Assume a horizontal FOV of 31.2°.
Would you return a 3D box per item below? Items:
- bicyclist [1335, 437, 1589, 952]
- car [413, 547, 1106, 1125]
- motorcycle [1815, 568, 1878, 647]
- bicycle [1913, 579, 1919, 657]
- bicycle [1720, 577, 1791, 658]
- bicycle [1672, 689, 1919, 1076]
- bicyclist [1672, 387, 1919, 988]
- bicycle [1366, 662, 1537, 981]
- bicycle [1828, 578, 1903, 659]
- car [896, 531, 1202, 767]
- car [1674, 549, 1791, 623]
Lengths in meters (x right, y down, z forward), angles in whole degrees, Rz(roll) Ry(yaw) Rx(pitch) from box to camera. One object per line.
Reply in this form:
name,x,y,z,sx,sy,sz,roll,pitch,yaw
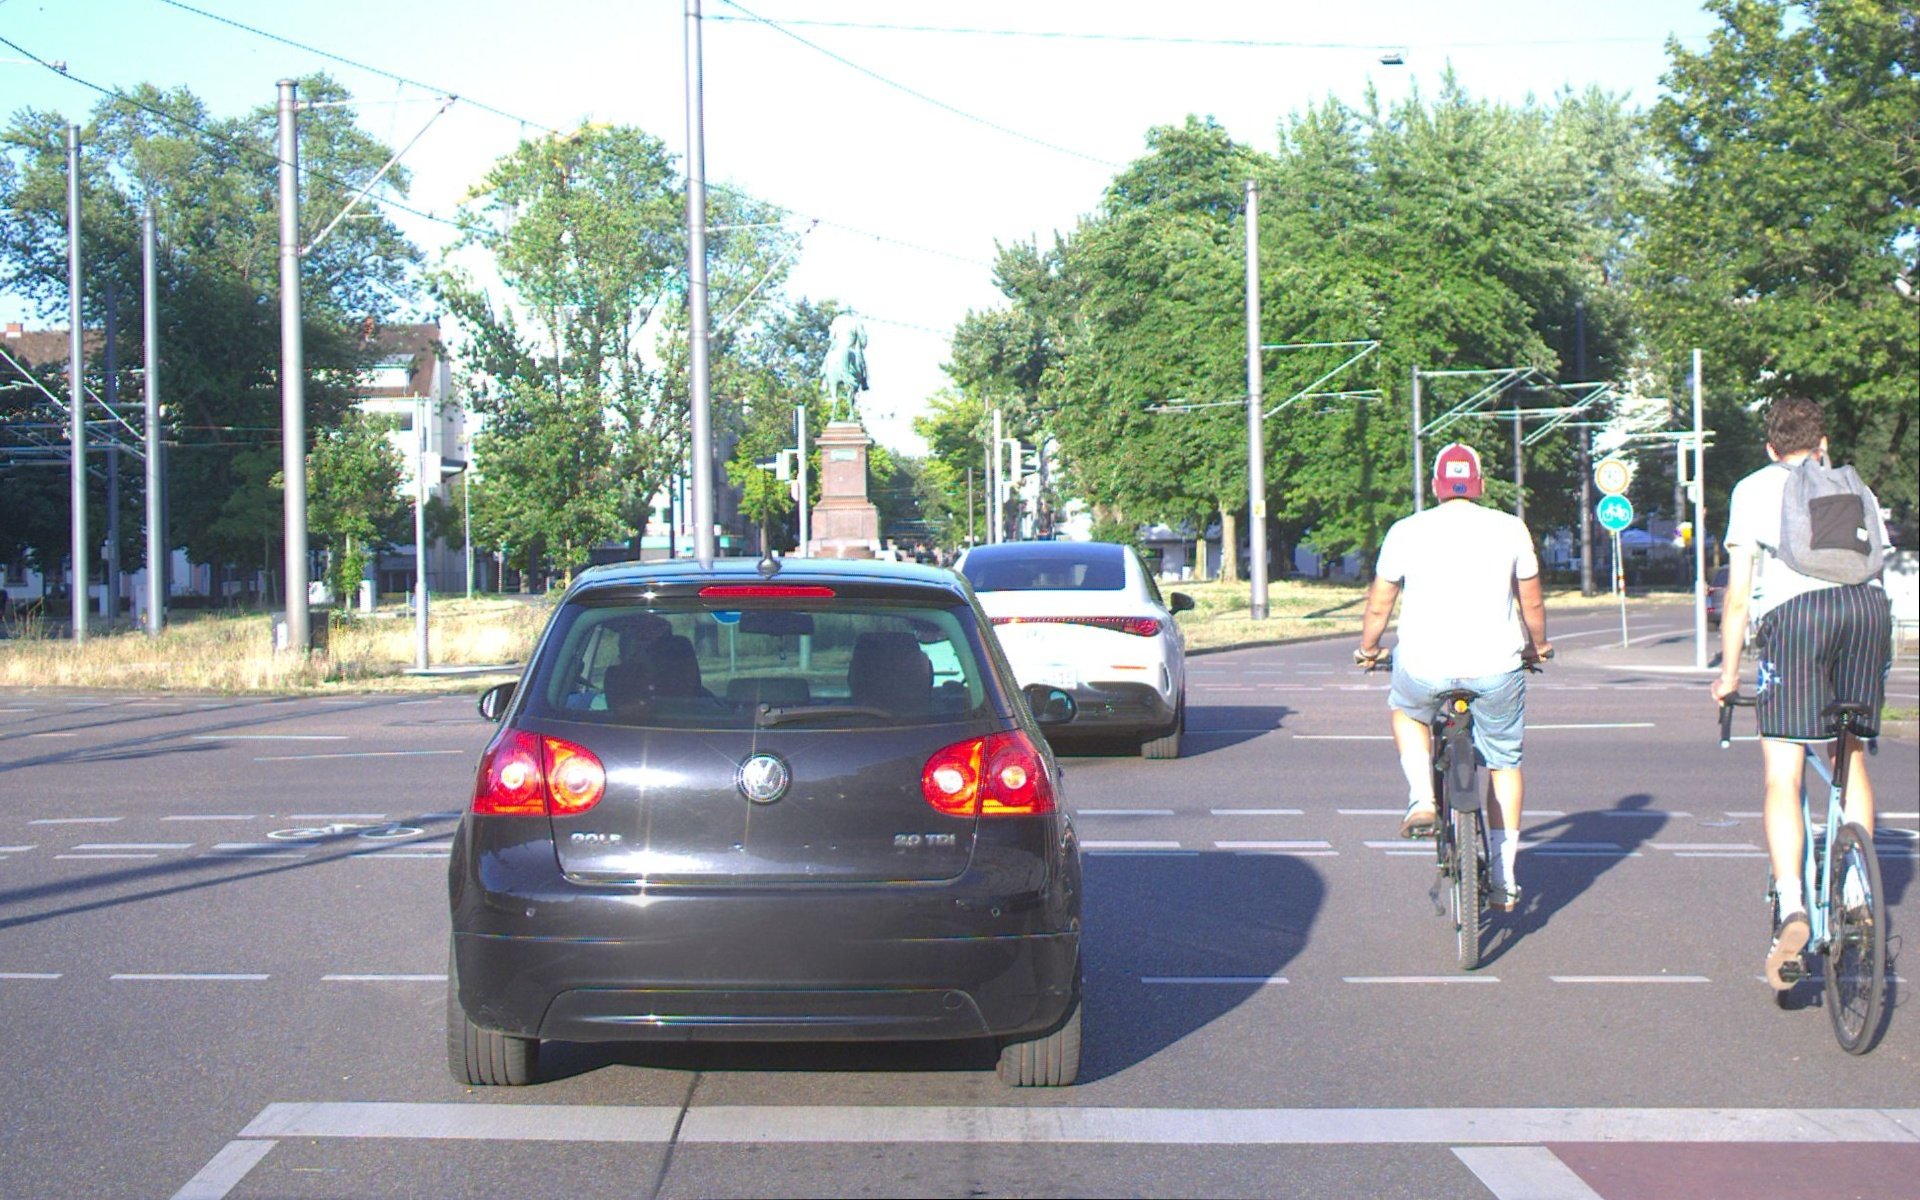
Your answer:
bicyclist,1.819,0.328,12.591,0.826,1.801,1.057,0,1,4
car,-0.571,0.569,10.759,1.747,1.456,4.104,0,1,-2
motorcycle,14.386,0.116,55.820,0.666,1.238,2.200,0,1,6
bicycle,14.676,0.292,50.759,0.645,1.154,2.124,-1,2,1
bicycle,11.728,0.241,50.740,0.645,1.123,1.874,-1,2,1
bicycle,2.631,0.828,10.683,0.575,1.024,1.856,0,1,4
bicyclist,2.654,0.258,10.806,0.674,1.801,0.994,0,1,4
bicycle,1.790,0.774,12.692,0.478,1.024,1.981,0,1,4
bicycle,13.362,0.258,50.776,0.645,1.123,1.874,-1,2,1
car,0.712,0.273,24.083,1.865,1.436,4.196,-2,1,5
car,16.739,-0.321,74.420,1.730,1.467,3.894,-3,0,23
